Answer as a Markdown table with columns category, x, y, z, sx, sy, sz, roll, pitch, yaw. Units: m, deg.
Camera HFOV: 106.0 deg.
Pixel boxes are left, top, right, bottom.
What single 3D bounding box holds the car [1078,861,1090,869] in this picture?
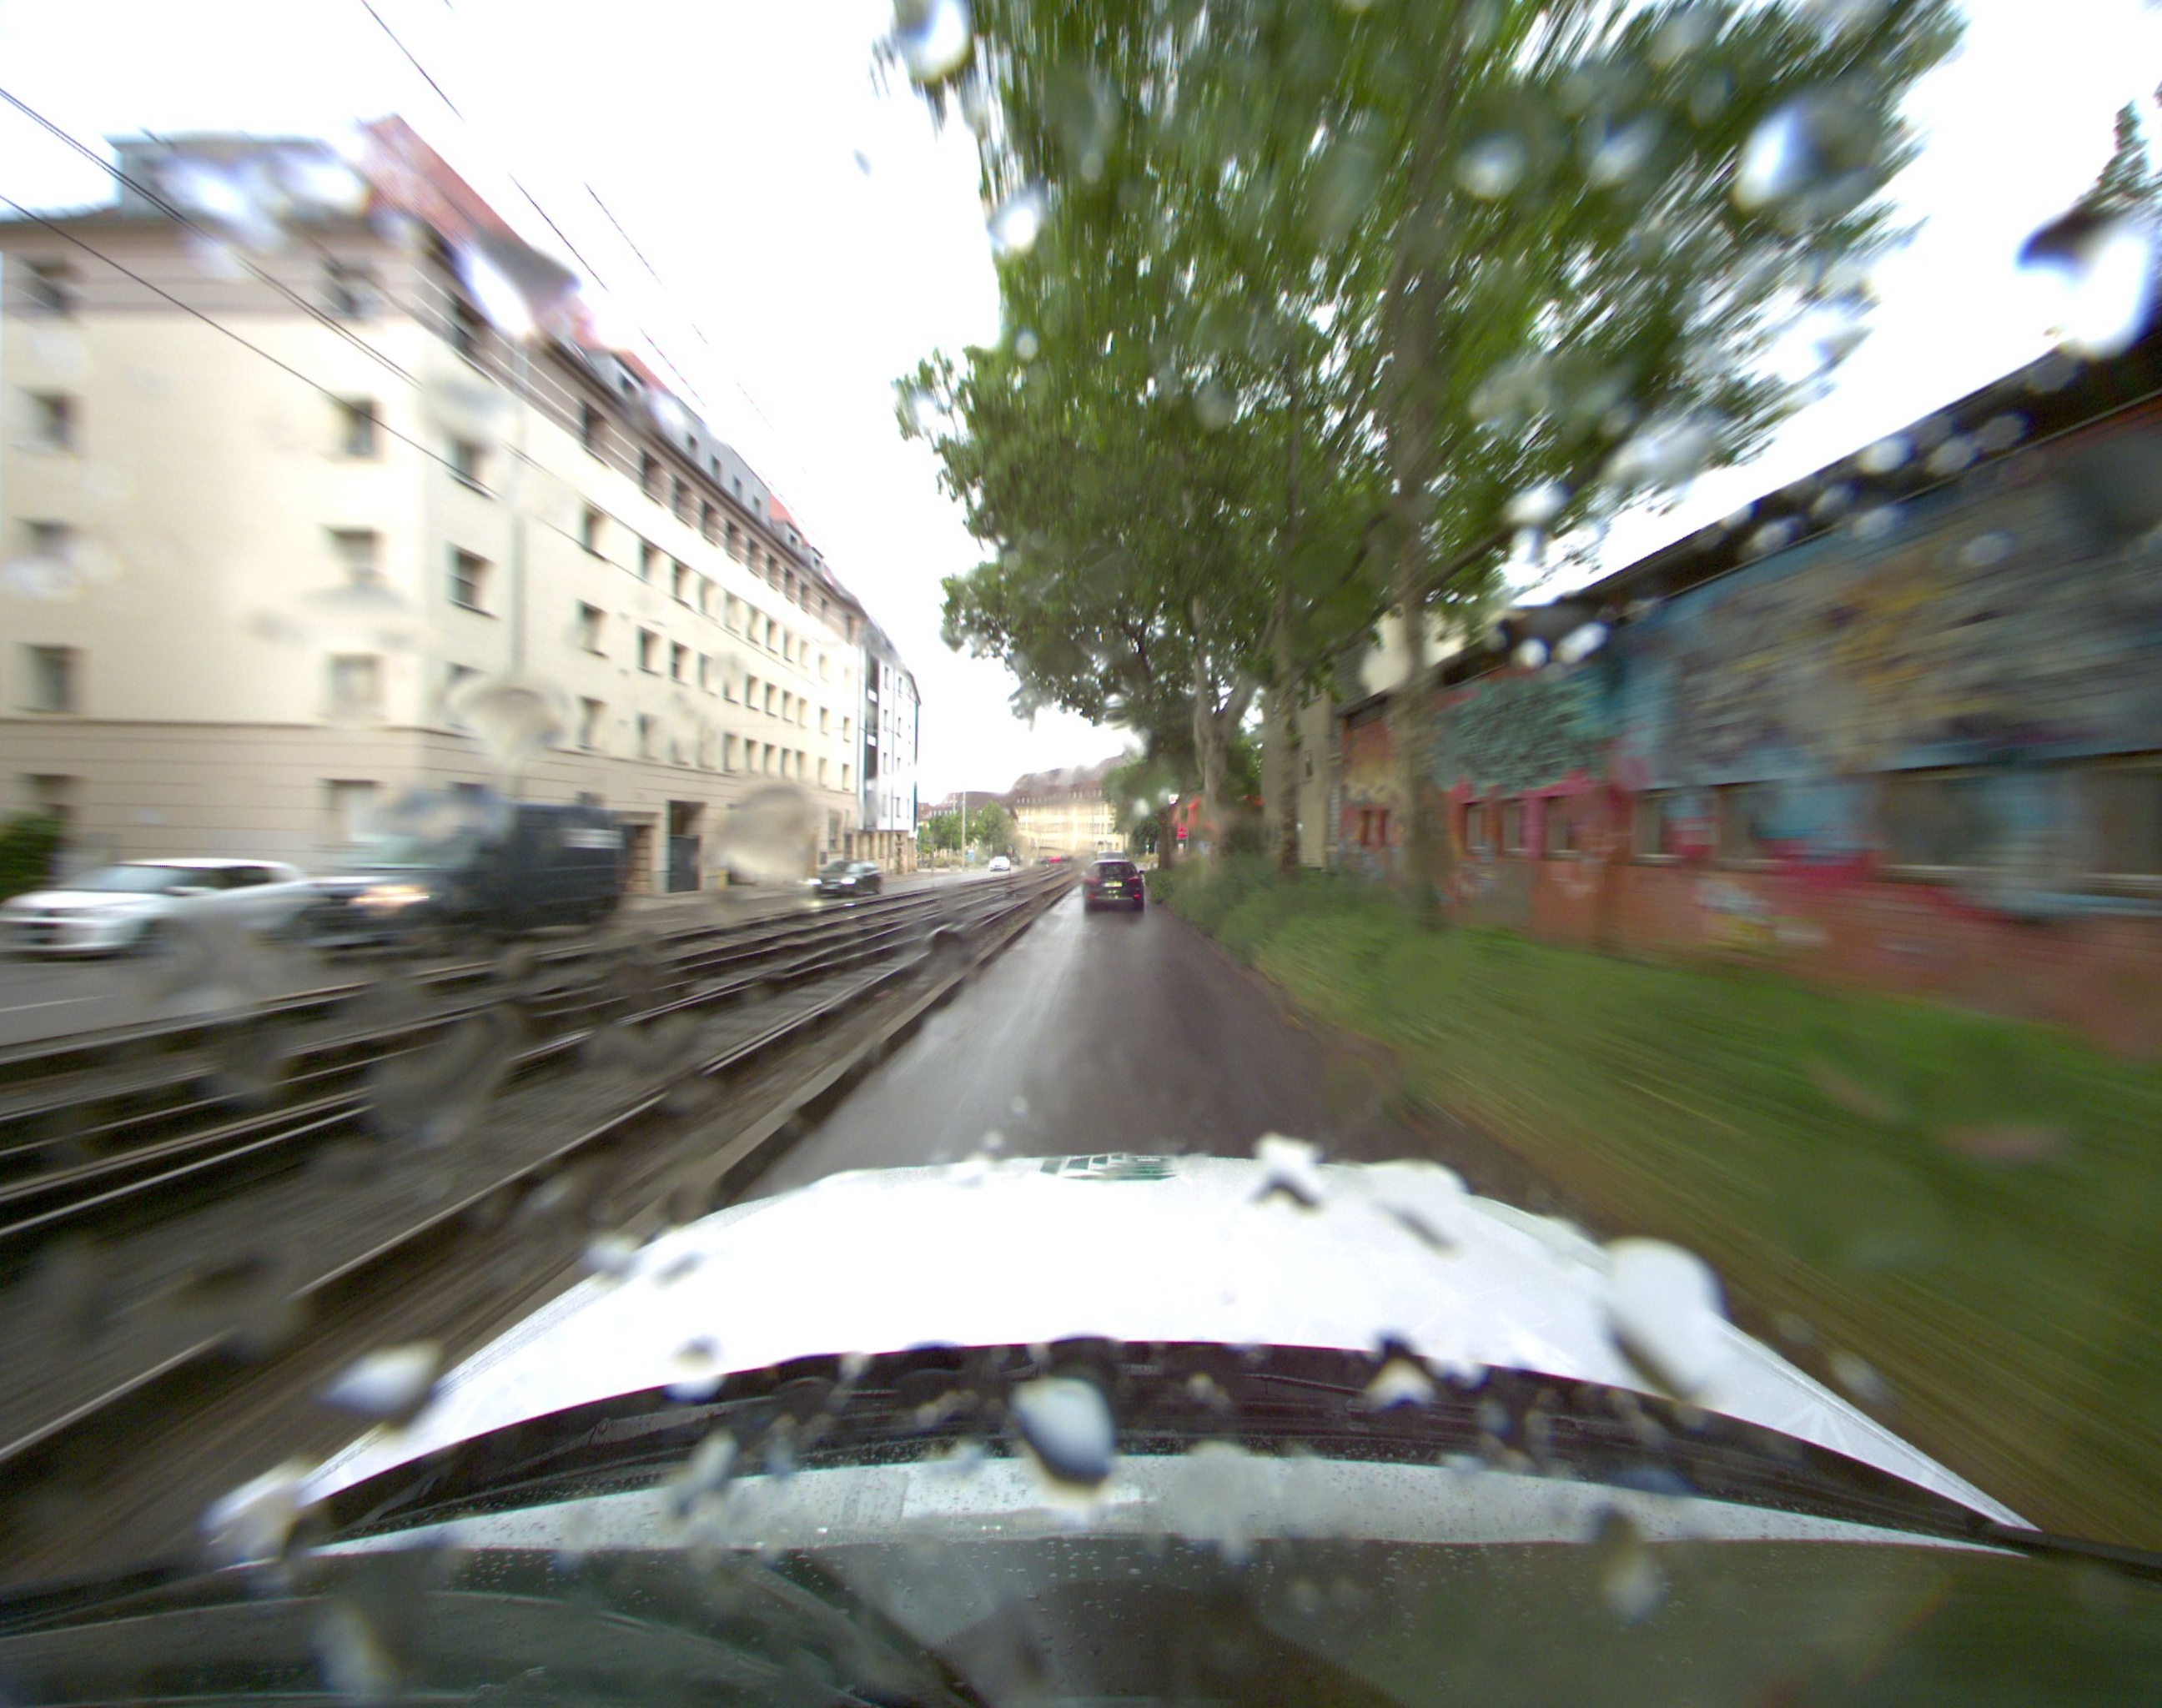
| category | x | y | z | sx | sy | sz | roll | pitch | yaw |
| --- | --- | --- | --- | --- | --- | --- | --- | --- | --- |
| car | 0.512 | 2.032 | 150.539 | 1.655 | 1.476 | 3.634 | 1 | -1 | -7 |

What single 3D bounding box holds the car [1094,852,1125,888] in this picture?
| category | x | y | z | sx | sy | sz | roll | pitch | yaw |
| --- | --- | --- | --- | --- | --- | --- | --- | --- | --- |
| car | 1.700 | 0.964 | 48.246 | 1.734 | 2.014 | 3.905 | 1 | -1 | 2 |

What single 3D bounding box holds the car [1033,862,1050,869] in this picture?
| category | x | y | z | sx | sy | sz | roll | pitch | yaw |
| --- | --- | --- | --- | --- | --- | --- | --- | --- | --- |
| car | -8.201 | 2.392 | 168.400 | 2.004 | 1.542 | 3.966 | -1 | -1 | -25 |

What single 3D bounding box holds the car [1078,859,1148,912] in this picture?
| category | x | y | z | sx | sy | sz | roll | pitch | yaw |
| --- | --- | --- | --- | --- | --- | --- | --- | --- | --- |
| car | 0.931 | 0.921 | 24.987 | 1.926 | 1.453 | 4.317 | 1 | -1 | 1 |

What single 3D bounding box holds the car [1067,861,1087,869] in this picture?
| category | x | y | z | sx | sy | sz | roll | pitch | yaw |
| --- | --- | --- | --- | --- | --- | --- | --- | --- | --- |
| car | -0.839 | 2.038 | 154.258 | 2.007 | 1.542 | 3.959 | 1 | -1 | -33 |

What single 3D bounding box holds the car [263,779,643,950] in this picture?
| category | x | y | z | sx | sy | sz | roll | pitch | yaw |
| --- | --- | --- | --- | --- | --- | --- | --- | --- | --- |
| car | -10.651 | 0.229 | 14.718 | 1.986 | 2.452 | 6.000 | 0 | -2 | 2 |

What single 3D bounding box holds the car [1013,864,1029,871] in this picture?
| category | x | y | z | sx | sy | sz | roll | pitch | yaw |
| --- | --- | --- | --- | --- | --- | --- | --- | --- | --- |
| car | -12.978 | 2.924 | 176.039 | 2.006 | 1.542 | 3.960 | 1 | -1 | -31 |

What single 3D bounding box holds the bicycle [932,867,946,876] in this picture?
| category | x | y | z | sx | sy | sz | roll | pitch | yaw |
| --- | --- | --- | --- | --- | --- | --- | --- | --- | --- |
| bicycle | -18.736 | 2.311 | 107.598 | 1.808 | 1.061 | 0.570 | 1 | -1 | -1 |

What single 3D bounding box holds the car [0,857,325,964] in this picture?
| category | x | y | z | sx | sy | sz | roll | pitch | yaw |
| --- | --- | --- | --- | --- | --- | --- | --- | --- | --- |
| car | -14.932 | 0.823 | 13.348 | 1.703 | 1.450 | 3.540 | 3 | -1 | -1 |

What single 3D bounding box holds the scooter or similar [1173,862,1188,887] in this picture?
| category | x | y | z | sx | sy | sz | roll | pitch | yaw |
| --- | --- | --- | --- | --- | --- | --- | --- | --- | --- |
| scooter or similar | 5.044 | 1.056 | 41.228 | 0.370 | 1.234 | 1.378 | -1 | -3 | 24 |

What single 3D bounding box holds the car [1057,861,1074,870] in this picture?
| category | x | y | z | sx | sy | sz | roll | pitch | yaw |
| --- | --- | --- | --- | --- | --- | --- | --- | --- | --- |
| car | -3.044 | 2.246 | 159.298 | 1.591 | 1.542 | 3.959 | 1 | -1 | -33 |

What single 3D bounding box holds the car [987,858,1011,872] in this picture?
| category | x | y | z | sx | sy | sz | roll | pitch | yaw |
| --- | --- | --- | --- | --- | --- | --- | --- | --- | --- |
| car | -8.666 | 1.182 | 86.487 | 1.792 | 1.482 | 4.843 | 0 | -1 | 3 |

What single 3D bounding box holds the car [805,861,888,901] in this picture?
| category | x | y | z | sx | sy | sz | roll | pitch | yaw |
| --- | --- | --- | --- | --- | --- | --- | --- | --- | --- |
| car | -9.545 | 1.053 | 33.566 | 1.873 | 1.486 | 4.856 | 1 | 0 | 2 |

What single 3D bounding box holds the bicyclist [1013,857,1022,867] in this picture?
| category | x | y | z | sx | sy | sz | roll | pitch | yaw |
| --- | --- | --- | --- | --- | --- | --- | --- | --- | --- |
| bicyclist | -8.094 | 1.007 | 104.002 | 0.777 | 1.313 | 0.782 | 0 | -1 | -35 |

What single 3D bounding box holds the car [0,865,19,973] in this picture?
| category | x | y | z | sx | sy | sz | roll | pitch | yaw |
| --- | --- | --- | --- | --- | --- | --- | --- | --- | --- |
| car | -14.948 | 0.807 | 8.802 | 1.698 | 1.396 | 3.934 | 2 | 0 | 0 |

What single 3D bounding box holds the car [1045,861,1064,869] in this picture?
| category | x | y | z | sx | sy | sz | roll | pitch | yaw |
| --- | --- | --- | --- | --- | --- | --- | --- | --- | --- |
| car | -5.355 | 2.274 | 163.627 | 2.008 | 1.542 | 3.957 | 1 | -1 | -34 |

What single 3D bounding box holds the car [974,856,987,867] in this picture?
| category | x | y | z | sx | sy | sz | roll | pitch | yaw |
| --- | --- | --- | --- | --- | --- | --- | --- | --- | --- |
| car | -15.067 | 1.142 | 122.070 | 1.992 | 1.542 | 3.989 | 1 | -1 | -8 |
